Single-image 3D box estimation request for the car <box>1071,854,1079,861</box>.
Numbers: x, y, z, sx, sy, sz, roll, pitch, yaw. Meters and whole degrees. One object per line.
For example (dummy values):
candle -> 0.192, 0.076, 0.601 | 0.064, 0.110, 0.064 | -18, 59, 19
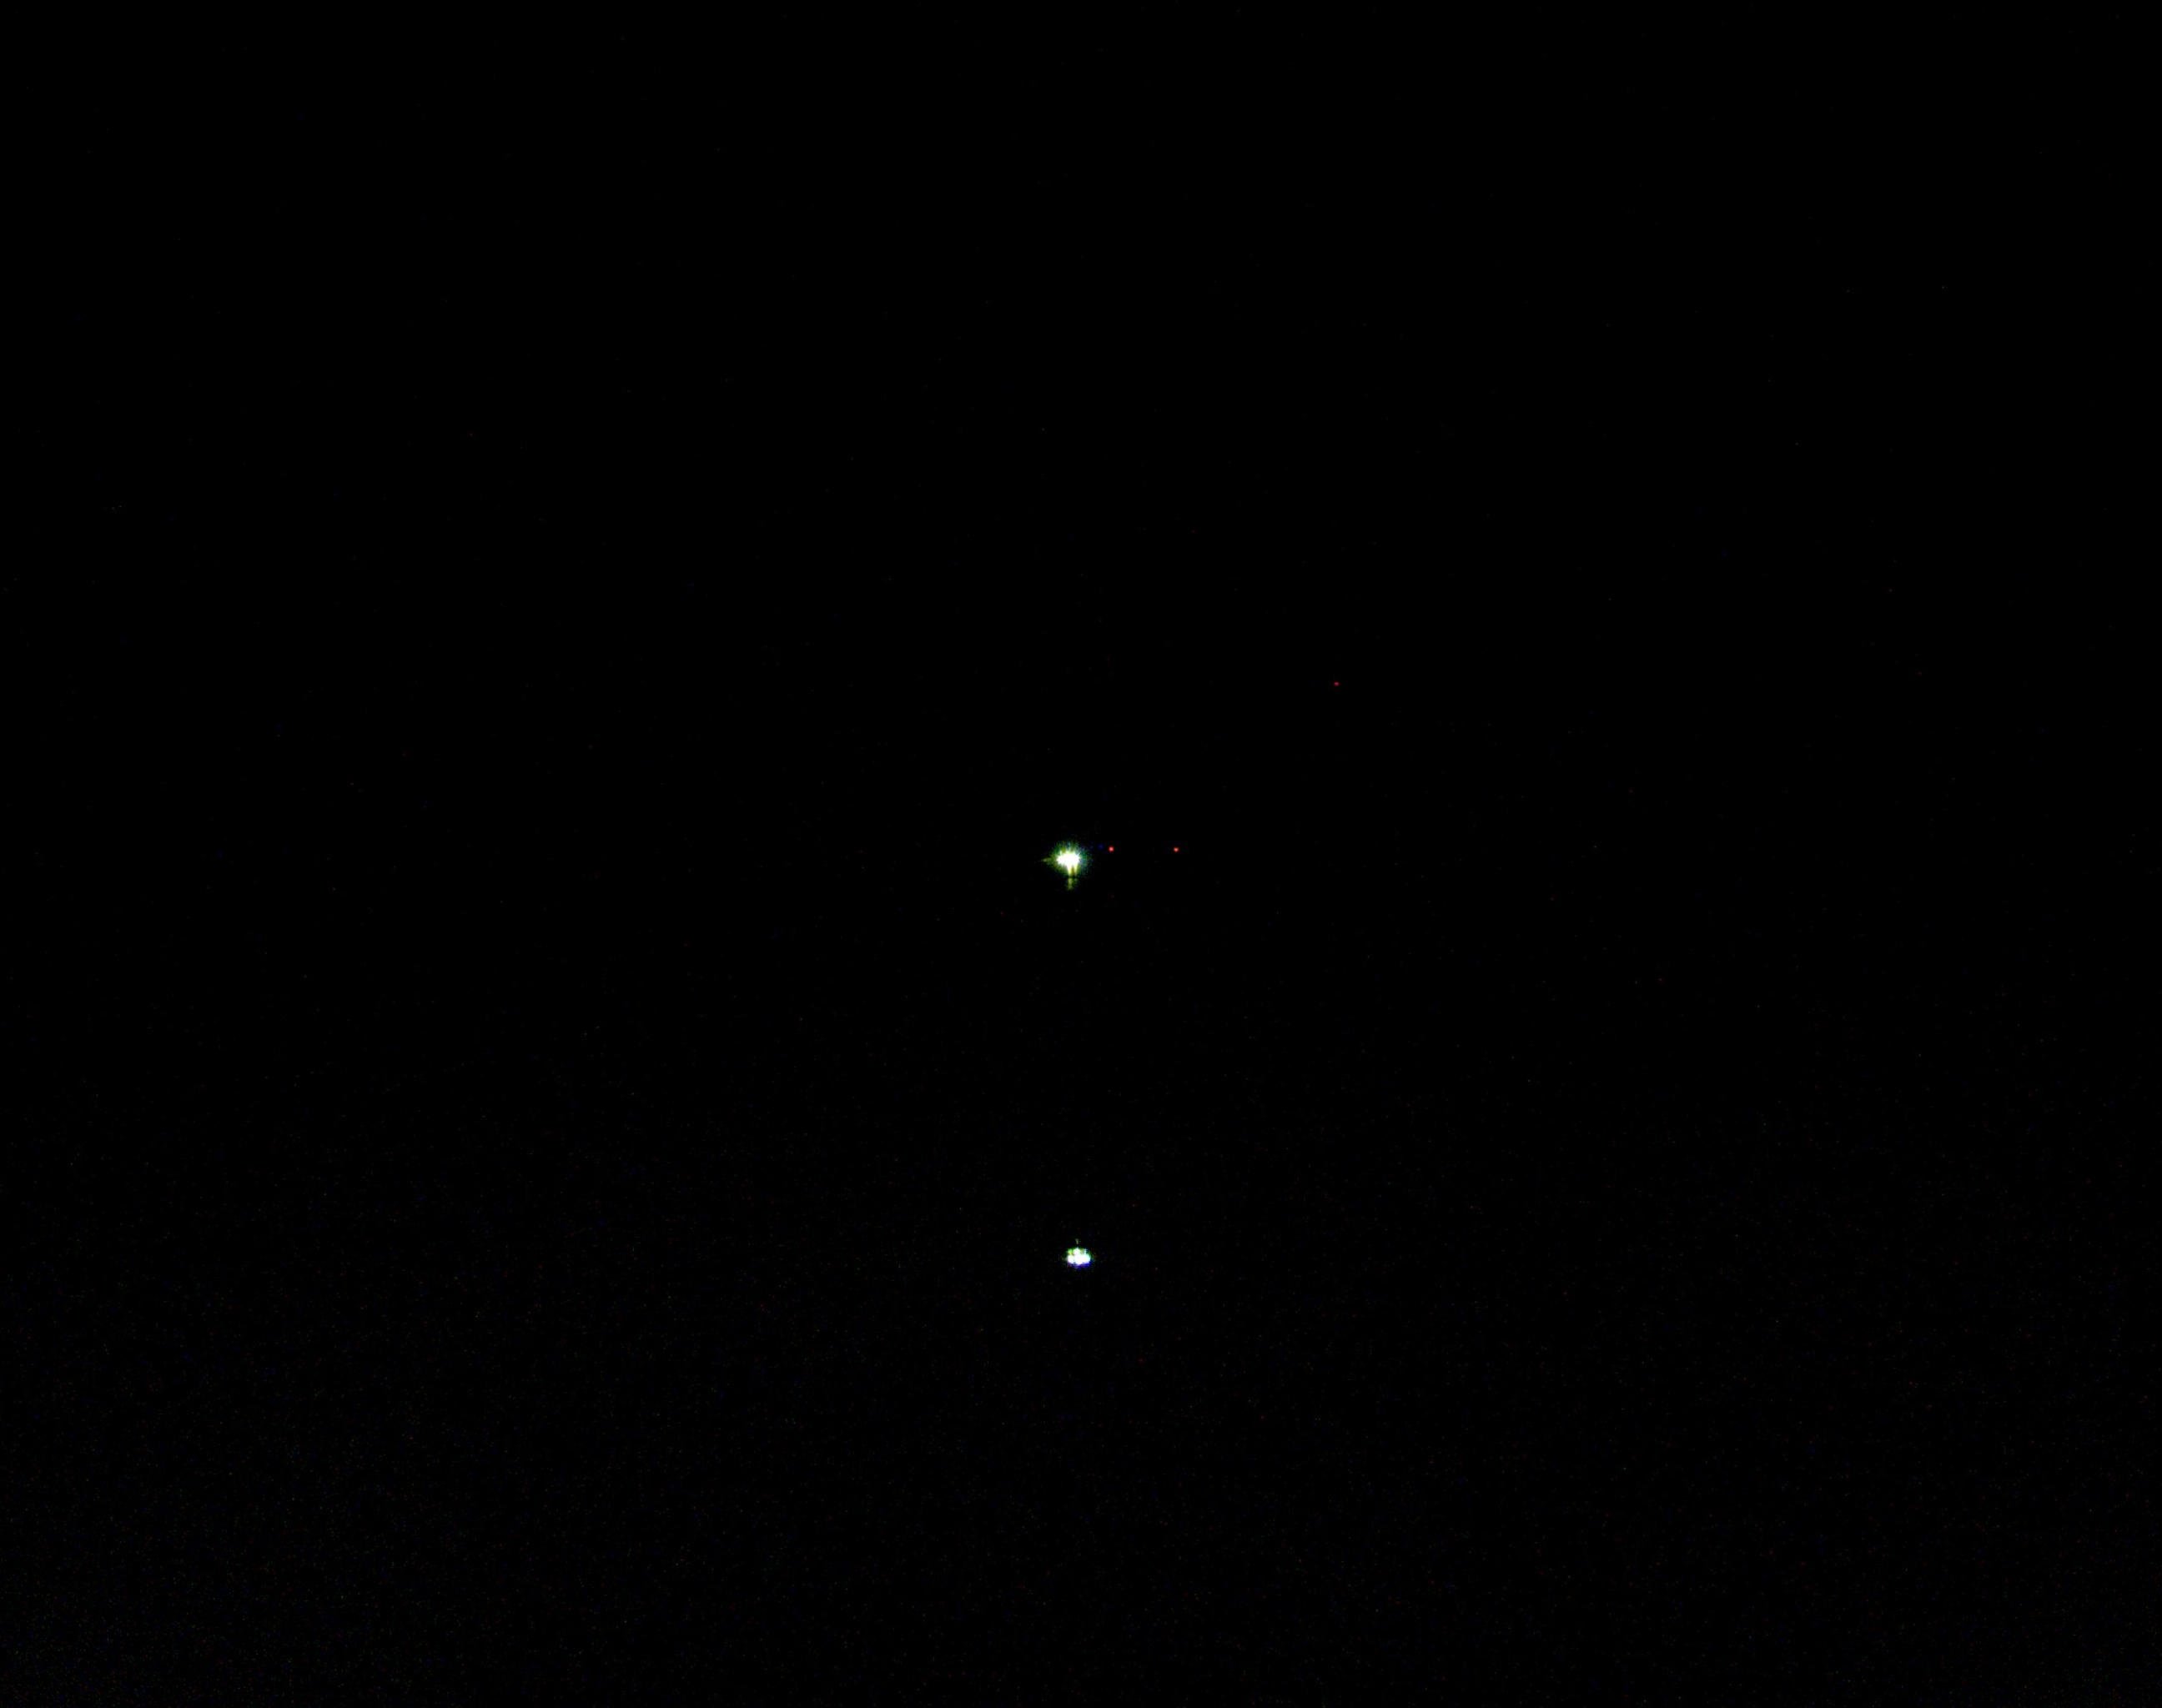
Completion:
car -> -1.412, 0.923, 185.102 | 1.846, 1.474, 4.293 | -2, -1, -1
